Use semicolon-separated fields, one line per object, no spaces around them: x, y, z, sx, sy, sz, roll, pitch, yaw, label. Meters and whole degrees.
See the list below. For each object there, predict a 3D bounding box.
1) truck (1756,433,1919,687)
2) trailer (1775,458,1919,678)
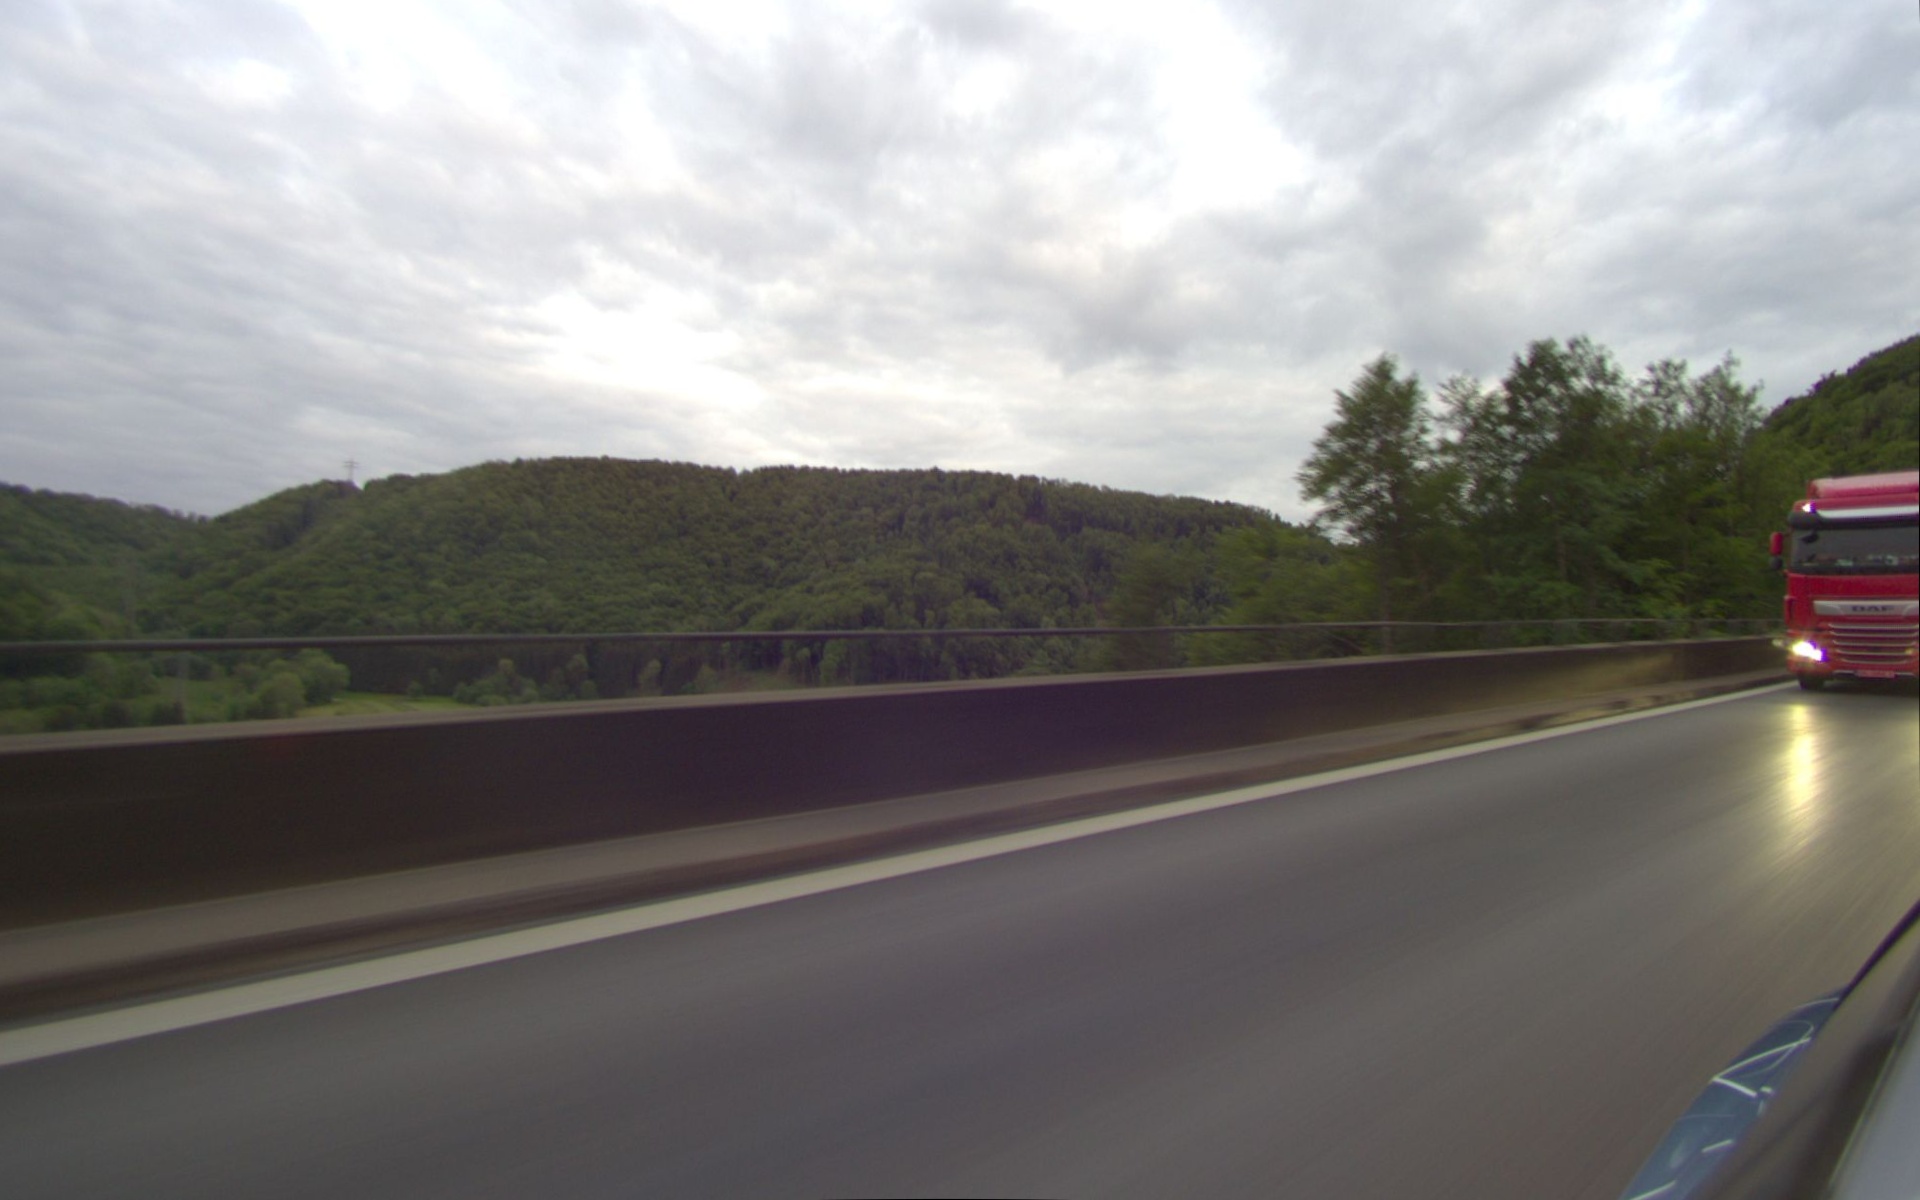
17.847;-0.669;19.275;6.333;4.197;3.074;0;0;-41;truck
22.527;-0.530;23.320;13.964;4.022;3.102;1;-2;-40;trailer
